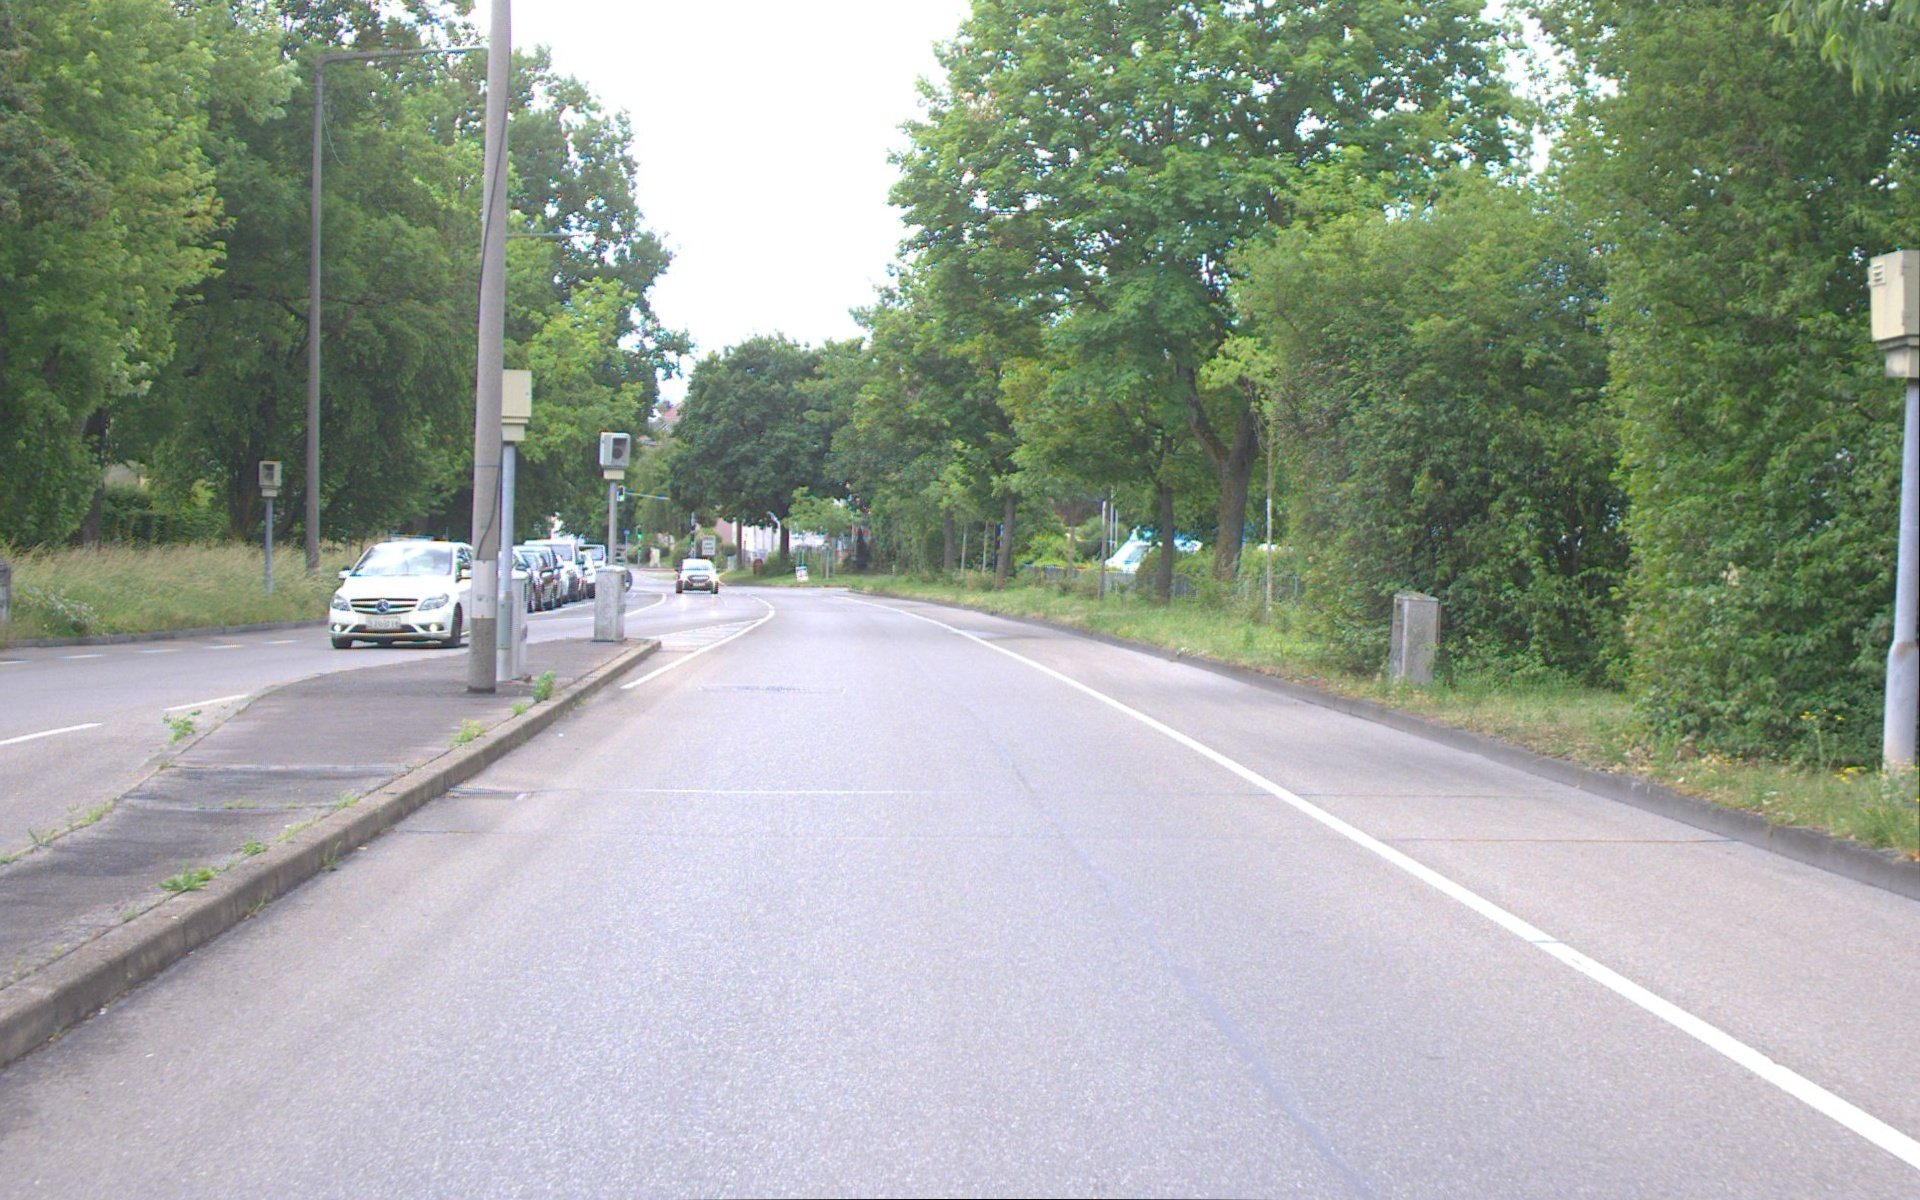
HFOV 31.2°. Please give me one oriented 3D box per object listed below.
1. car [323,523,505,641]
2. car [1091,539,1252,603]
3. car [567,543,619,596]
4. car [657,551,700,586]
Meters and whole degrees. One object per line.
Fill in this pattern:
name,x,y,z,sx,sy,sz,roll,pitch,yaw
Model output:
car,-7.842,-0.242,49.758,1.875,1.565,4.339,2,0,0
car,8.479,-1.148,137.545,6.009,2.359,2.363,2,0,-27
car,-14.064,-1.153,132.042,1.866,1.957,5.128,1,0,-5
car,-11.895,-1.319,145.242,1.637,1.462,4.000,0,0,-2
